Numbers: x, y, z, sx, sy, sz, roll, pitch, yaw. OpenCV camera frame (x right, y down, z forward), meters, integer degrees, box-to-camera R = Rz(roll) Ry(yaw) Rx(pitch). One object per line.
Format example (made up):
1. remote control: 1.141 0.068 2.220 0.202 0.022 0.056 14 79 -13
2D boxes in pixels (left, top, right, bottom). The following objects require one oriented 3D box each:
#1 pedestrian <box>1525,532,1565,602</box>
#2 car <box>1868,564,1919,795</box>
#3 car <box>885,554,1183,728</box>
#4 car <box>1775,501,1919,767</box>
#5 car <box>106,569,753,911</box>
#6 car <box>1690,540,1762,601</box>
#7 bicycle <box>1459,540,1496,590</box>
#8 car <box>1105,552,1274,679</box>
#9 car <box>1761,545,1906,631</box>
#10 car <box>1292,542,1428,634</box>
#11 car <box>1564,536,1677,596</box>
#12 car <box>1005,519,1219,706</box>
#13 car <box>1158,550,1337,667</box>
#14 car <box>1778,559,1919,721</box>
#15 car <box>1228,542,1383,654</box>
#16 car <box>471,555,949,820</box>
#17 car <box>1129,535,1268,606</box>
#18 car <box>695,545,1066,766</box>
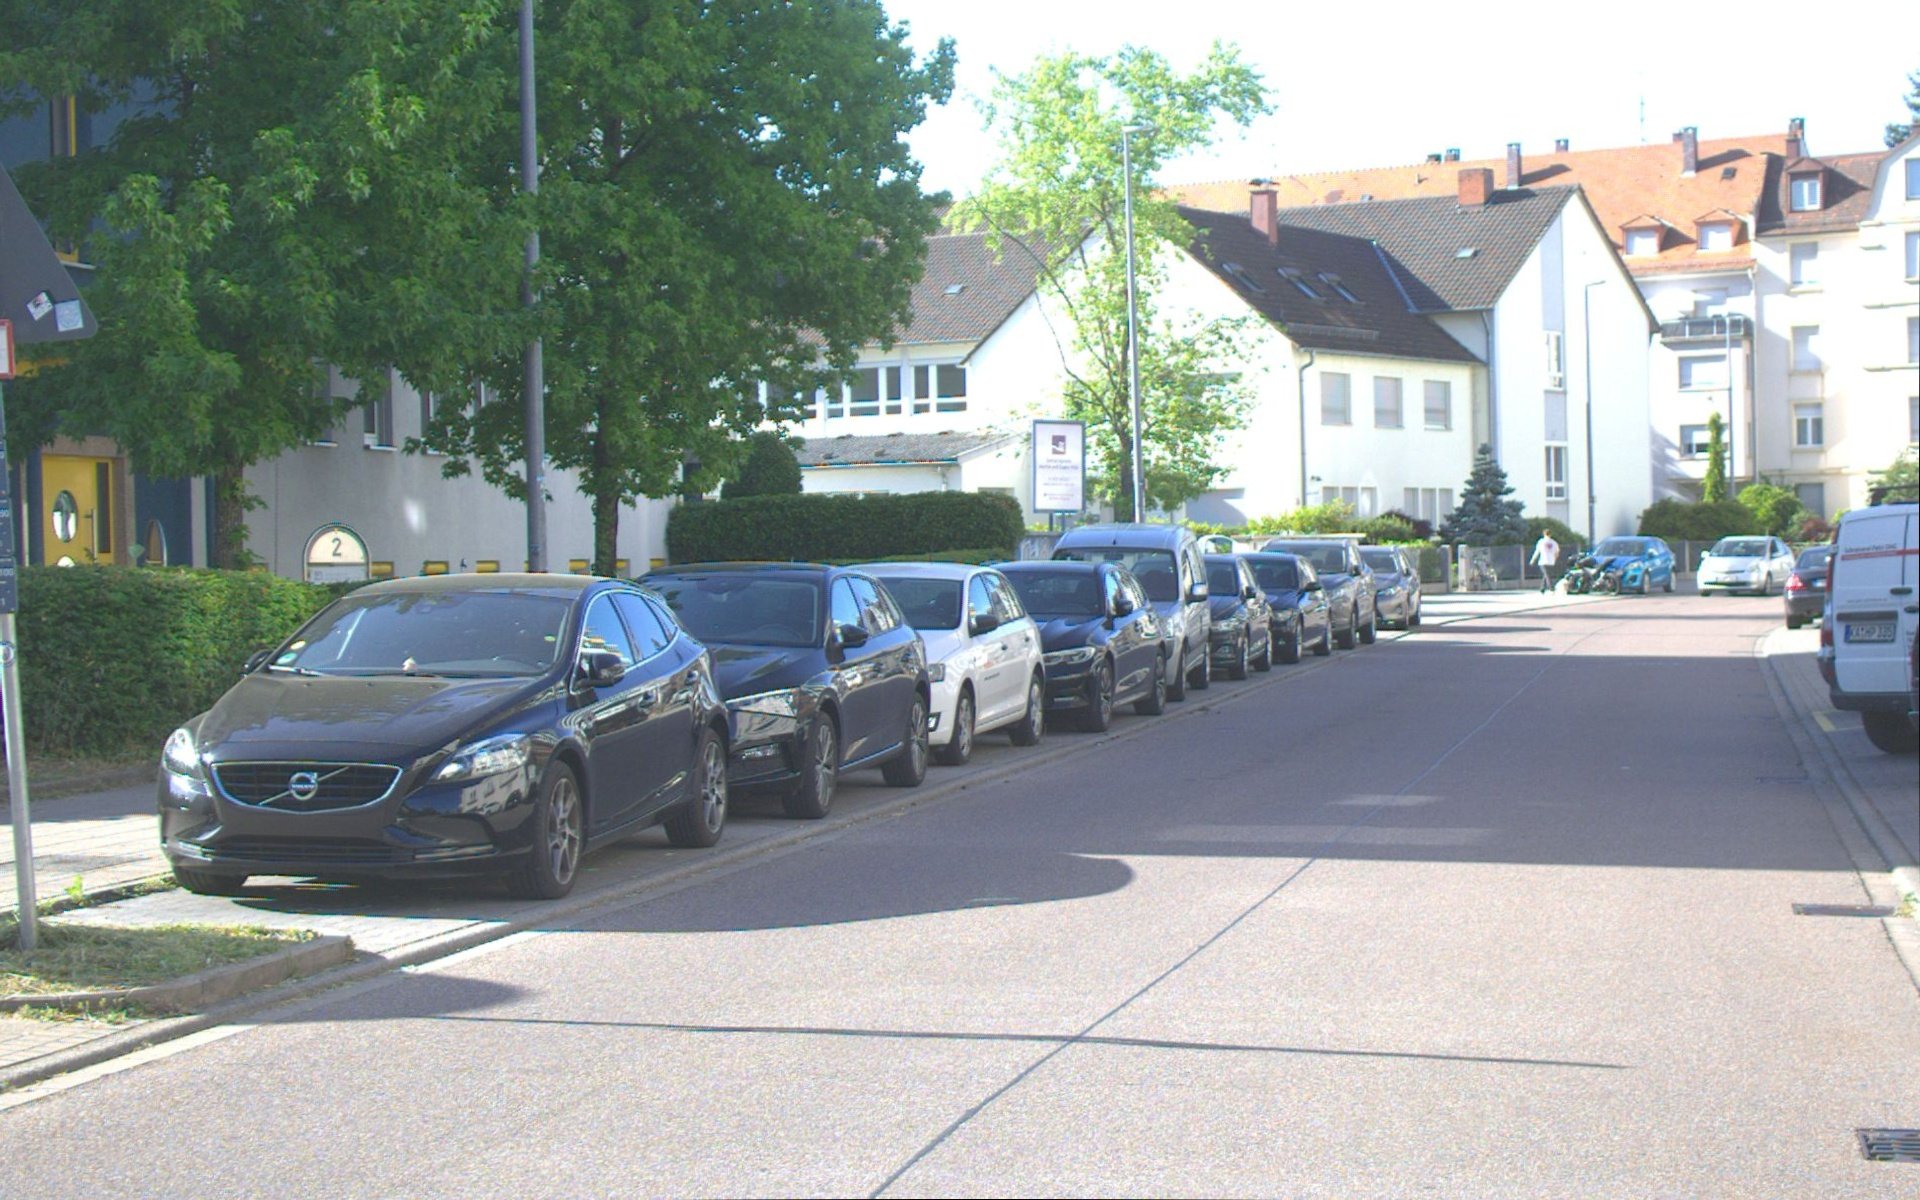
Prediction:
1. pedestrian: 14.532 -0.810 85.376 0.684 1.698 0.822 -1 -2 34
2. car: 8.172 0.394 22.546 3.983 1.484 1.617 -3 -1 -19
3. car: 0.757 0.317 31.028 1.733 1.434 4.609 -1 1 14
4. car: 8.637 0.164 25.953 4.515 1.892 2.050 -3 -1 -29
5. car: -2.380 0.569 16.590 1.790 1.405 4.221 0 1 11
6. car: 19.401 -0.767 86.985 1.727 1.480 4.104 0 1 13
7. bicycle: 13.581 -0.919 90.153 0.457 1.246 1.925 -1 -2 24
8. car: 2.786 0.145 40.995 1.598 1.435 3.998 0 1 10
9. car: 15.449 -0.212 60.622 1.973 1.445 4.998 -1 0 20
10. car: 7.184 -0.245 61.396 1.994 1.529 4.916 0 1 12
11. car: 17.134 -0.899 89.027 1.800 1.468 4.324 1 2 26
12. car: 1.659 0.084 36.072 1.688 1.832 4.340 0 1 10
13. car: 3.899 0.080 46.024 1.727 1.460 4.437 0 1 13
14. car: 10.225 0.328 33.108 4.632 1.461 1.691 -2 -1 -30
15. car: 5.239 -0.060 51.667 1.721 1.581 4.419 0 1 13
16. car: -1.420 0.485 21.403 1.909 1.474 4.378 0 0 11
17. car: 5.565 -0.665 79.976 1.803 1.550 3.182 -1 -2 36
18. car: -0.495 0.382 26.214 1.909 1.525 4.623 0 0 11
